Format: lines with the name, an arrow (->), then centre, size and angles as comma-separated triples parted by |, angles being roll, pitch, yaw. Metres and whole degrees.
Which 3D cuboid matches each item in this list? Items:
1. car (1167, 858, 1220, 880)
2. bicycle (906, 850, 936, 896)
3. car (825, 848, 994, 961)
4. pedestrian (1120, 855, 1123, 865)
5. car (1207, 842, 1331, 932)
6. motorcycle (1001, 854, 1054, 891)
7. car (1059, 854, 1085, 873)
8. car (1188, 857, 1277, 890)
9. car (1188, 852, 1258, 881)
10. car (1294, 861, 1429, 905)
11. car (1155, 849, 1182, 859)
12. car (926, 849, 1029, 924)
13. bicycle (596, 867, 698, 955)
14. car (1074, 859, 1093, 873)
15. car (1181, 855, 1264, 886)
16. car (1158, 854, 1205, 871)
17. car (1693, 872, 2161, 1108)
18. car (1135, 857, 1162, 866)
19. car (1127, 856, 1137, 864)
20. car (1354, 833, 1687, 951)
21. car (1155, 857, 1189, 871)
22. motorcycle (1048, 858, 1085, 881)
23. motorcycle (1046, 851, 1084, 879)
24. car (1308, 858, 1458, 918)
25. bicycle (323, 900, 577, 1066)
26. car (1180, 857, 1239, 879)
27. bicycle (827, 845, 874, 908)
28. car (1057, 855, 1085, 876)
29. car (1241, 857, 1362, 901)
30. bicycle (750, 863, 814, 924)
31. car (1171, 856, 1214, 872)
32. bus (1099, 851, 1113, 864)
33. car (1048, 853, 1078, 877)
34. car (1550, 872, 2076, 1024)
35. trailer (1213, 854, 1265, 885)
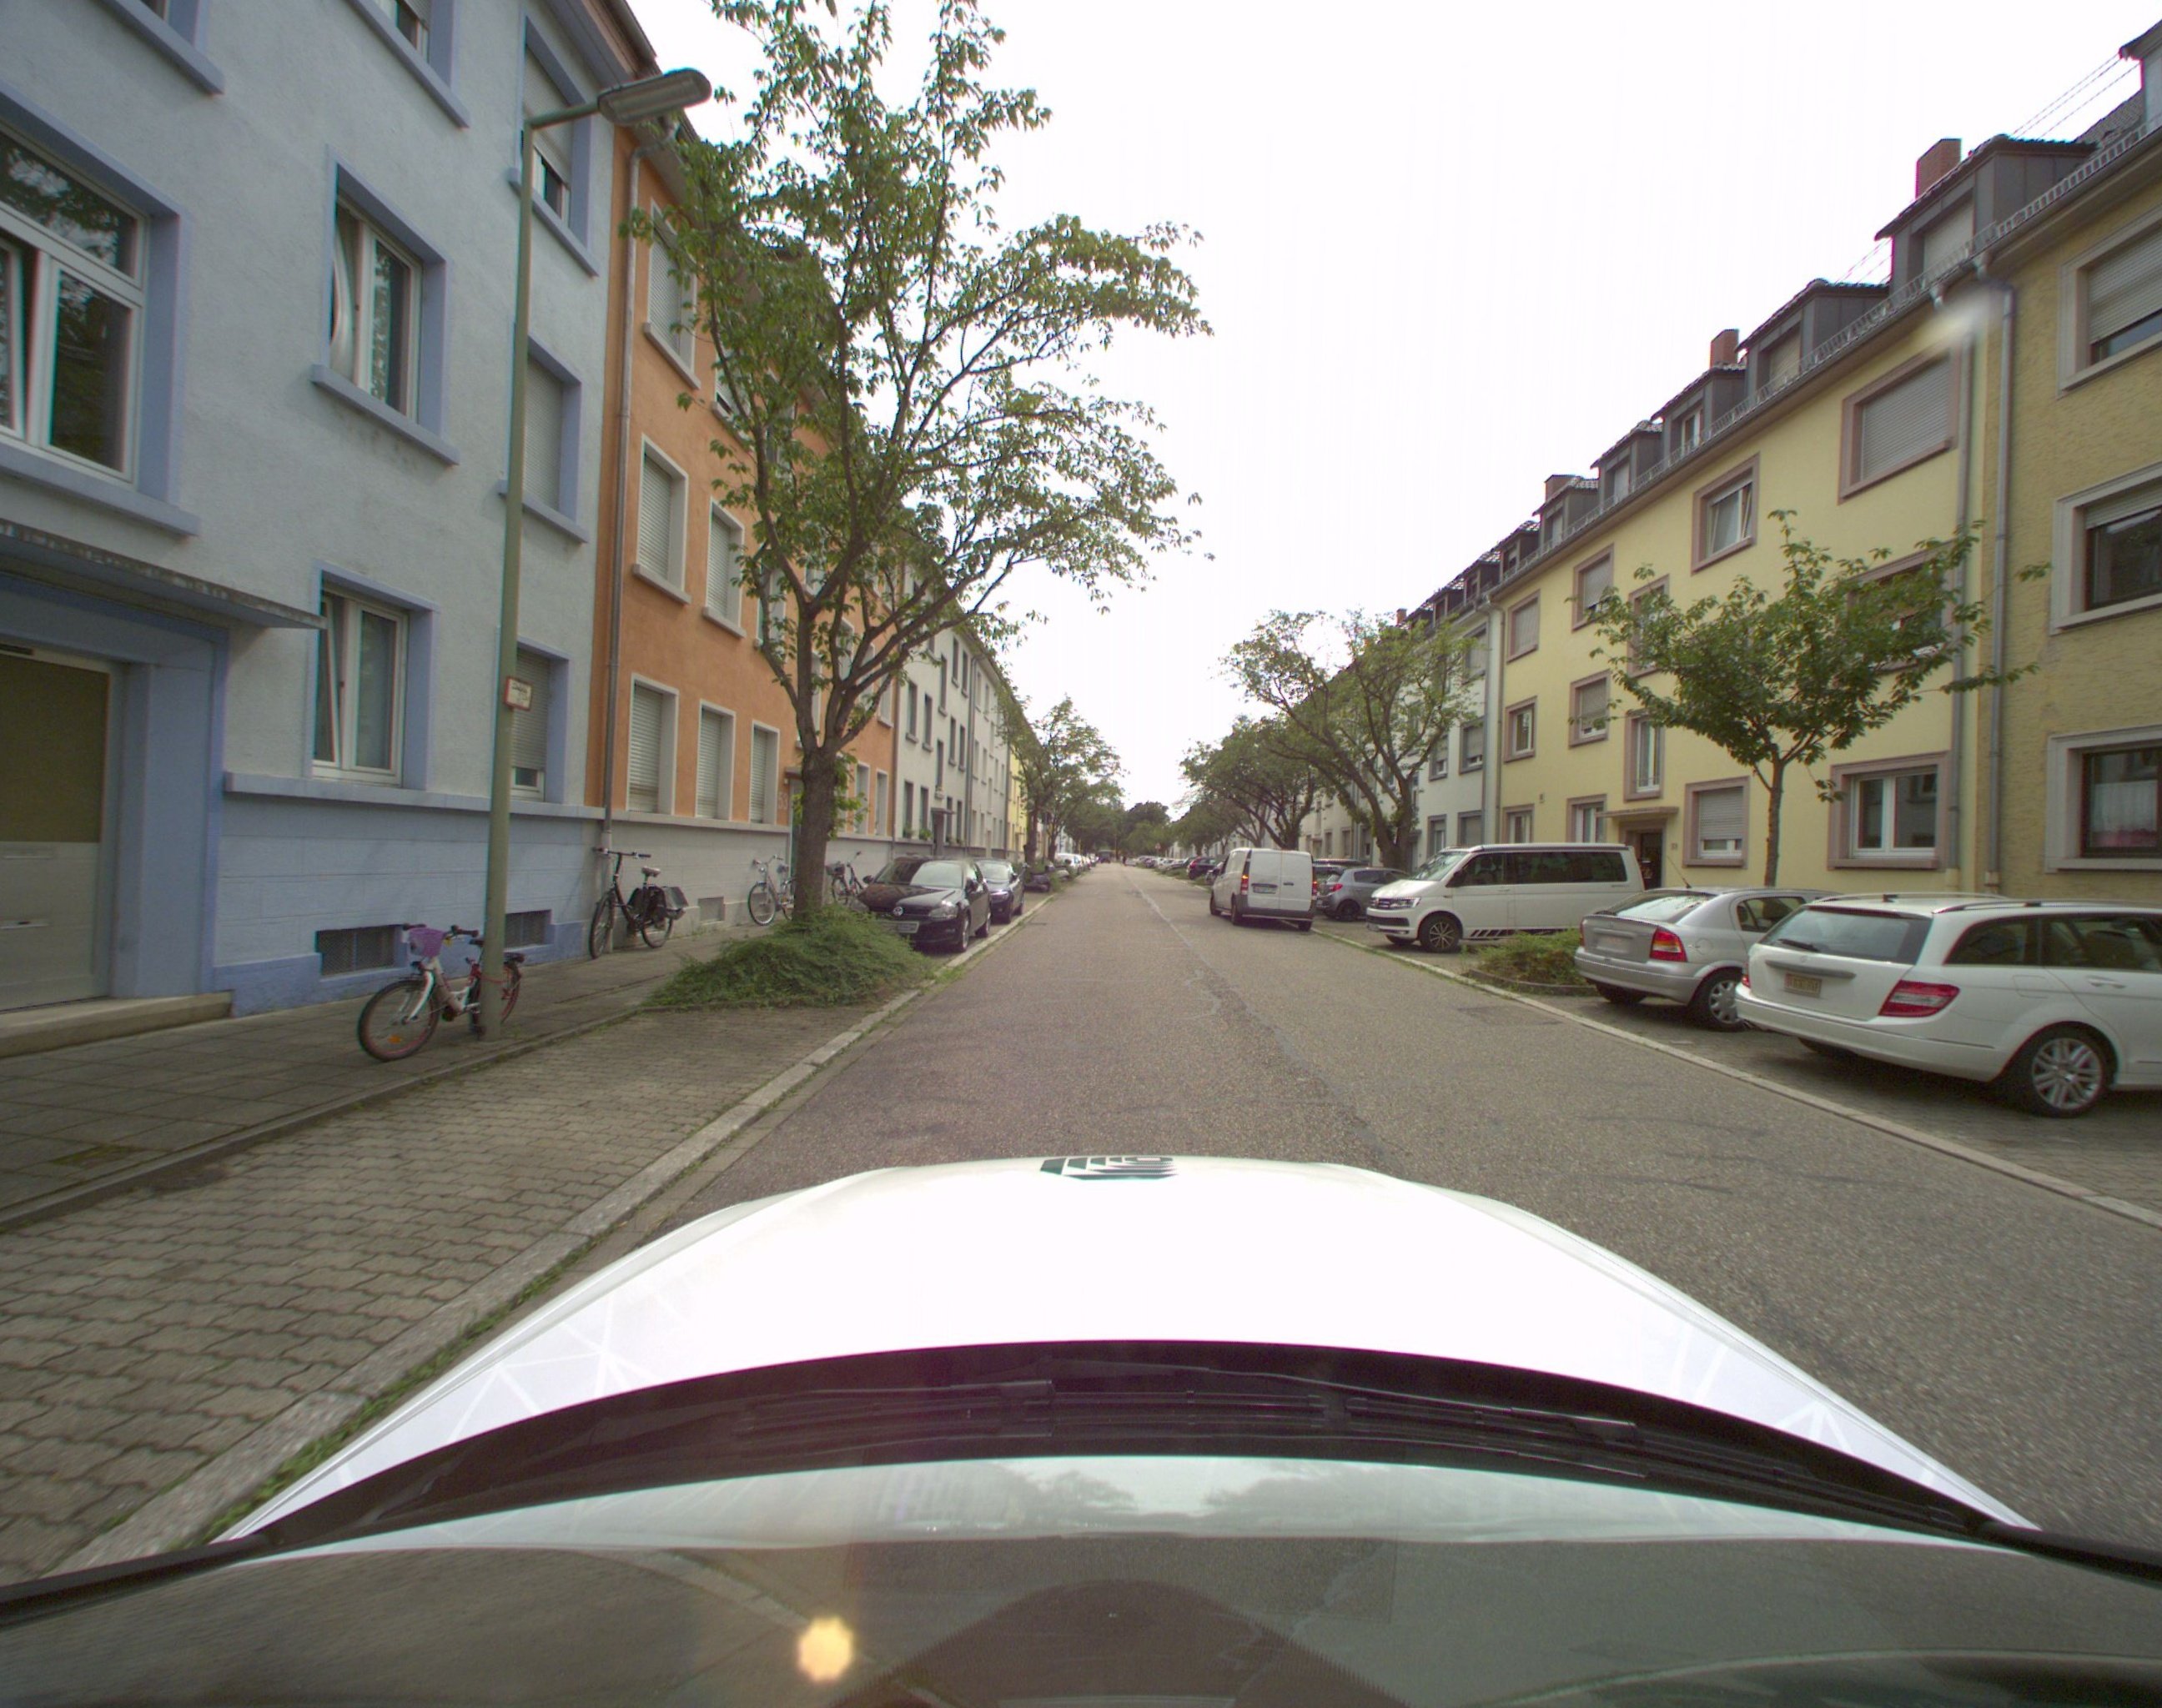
car -> 9.953, 1.310, 72.341 | 4.505, 1.858, 1.795 | 0, -1, 4
bicycle -> -4.807, 0.573, 24.587 | 0.427, 1.334, 1.813 | 0, -1, 3
car -> -2.612, 0.731, 13.437 | 1.830, 1.484, 4.093 | 3, -1, 0
pedestrian -> 7.126, 1.072, 144.596 | 0.519, 1.704, 0.445 | 0, -1, 5
car -> 4.602, 0.774, 20.711 | 1.987, 1.915, 4.703 | 3, -1, 0
motorcycle -> -2.116, 0.722, 32.090 | 2.011, 1.407, 0.790 | 0, -1, -10
car -> -0.729, 0.789, 69.035 | 1.911, 1.581, 4.384 | 0, -1, 2
car -> 7.730, 0.997, 41.831 | 4.202, 1.598, 1.903 | 0, -1, -1
car -> 8.967, 0.799, 51.693 | 4.196, 1.736, 1.906 | 0, -1, 4
car -> 9.317, 0.953, 27.237 | 3.972, 1.420, 1.638 | 0, -1, 1
car -> 12.144, 0.047, 113.178 | 3.732, 1.366, 1.774 | 0, -1, 2
car -> -2.335, 0.717, 19.473 | 1.830, 1.484, 4.120 | 4, -1, 0
bicycle -> -5.306, 0.662, 10.054 | 0.365, 0.996, 1.570 | 0, -1, 2
car -> 0.312, 1.362, 89.903 | 1.870, 1.486, 4.514 | 0, -1, 2
car -> 7.680, 0.894, 44.594 | 4.202, 1.598, 1.903 | 0, -1, -1
car -> 10.294, 0.902, 83.517 | 4.596, 1.664, 1.894 | 0, -1, 2
car -> 7.737, 0.921, 6.374 | 4.532, 1.510, 1.850 | 0, -1, -1
car -> 12.632, 1.438, 153.419 | 4.959, 1.518, 1.768 | 0, -1, 0
car -> 9.091, 1.086, 145.306 | 1.680, 1.354, 3.829 | 0, -1, 3
car -> 8.099, 0.666, 15.348 | 5.216, 2.023, 2.071 | 0, -1, -3
car -> 10.870, 1.155, 97.651 | 3.908, 1.633, 1.869 | 0, -1, 2
motorcycle -> -0.771, 0.809, 43.254 | 1.915, 1.192, 0.592 | 0, -1, -25
motorcycle -> -0.972, 0.669, 50.008 | 0.943, 1.676, 2.445 | 2, 0, -41
car -> 8.251, 0.917, 22.484 | 3.466, 1.574, 1.815 | 0, -1, 0
bicycle -> -4.183, 0.800, 5.550 | 0.412, 0.873, 1.539 | 5, 0, 2
car -> 9.342, 1.019, 59.448 | 3.976, 1.530, 1.767 | 0, -1, -2
bicycle -> -5.106, 0.479, 18.098 | 0.427, 1.334, 1.813 | 0, -1, 3
car -> -0.704, 0.864, 60.559 | 1.783, 1.492, 4.814 | 2, -1, 2
car -> 7.958, 0.883, 29.571 | 3.972, 1.536, 1.638 | 0, -1, 1
bicycle -> -5.230, 0.662, 14.342 | 0.365, 1.006, 1.868 | 0, -1, 2
car -> 10.266, 0.947, 75.153 | 3.616, 1.454, 1.771 | 0, -1, -3
bus -> 5.516, 0.870, 182.971 | 2.993, 2.761, 8.924 | 0, -1, 1
car -> -1.177, 0.731, 54.397 | 1.750, 1.556, 4.257 | 1, -1, 2
car -> 7.664, 0.929, 8.853 | 4.080, 1.415, 1.850 | 0, -1, -1
trailer -> 9.591, 0.941, 49.509 | 2.946, 1.831, 1.402 | 0, -1, 5
